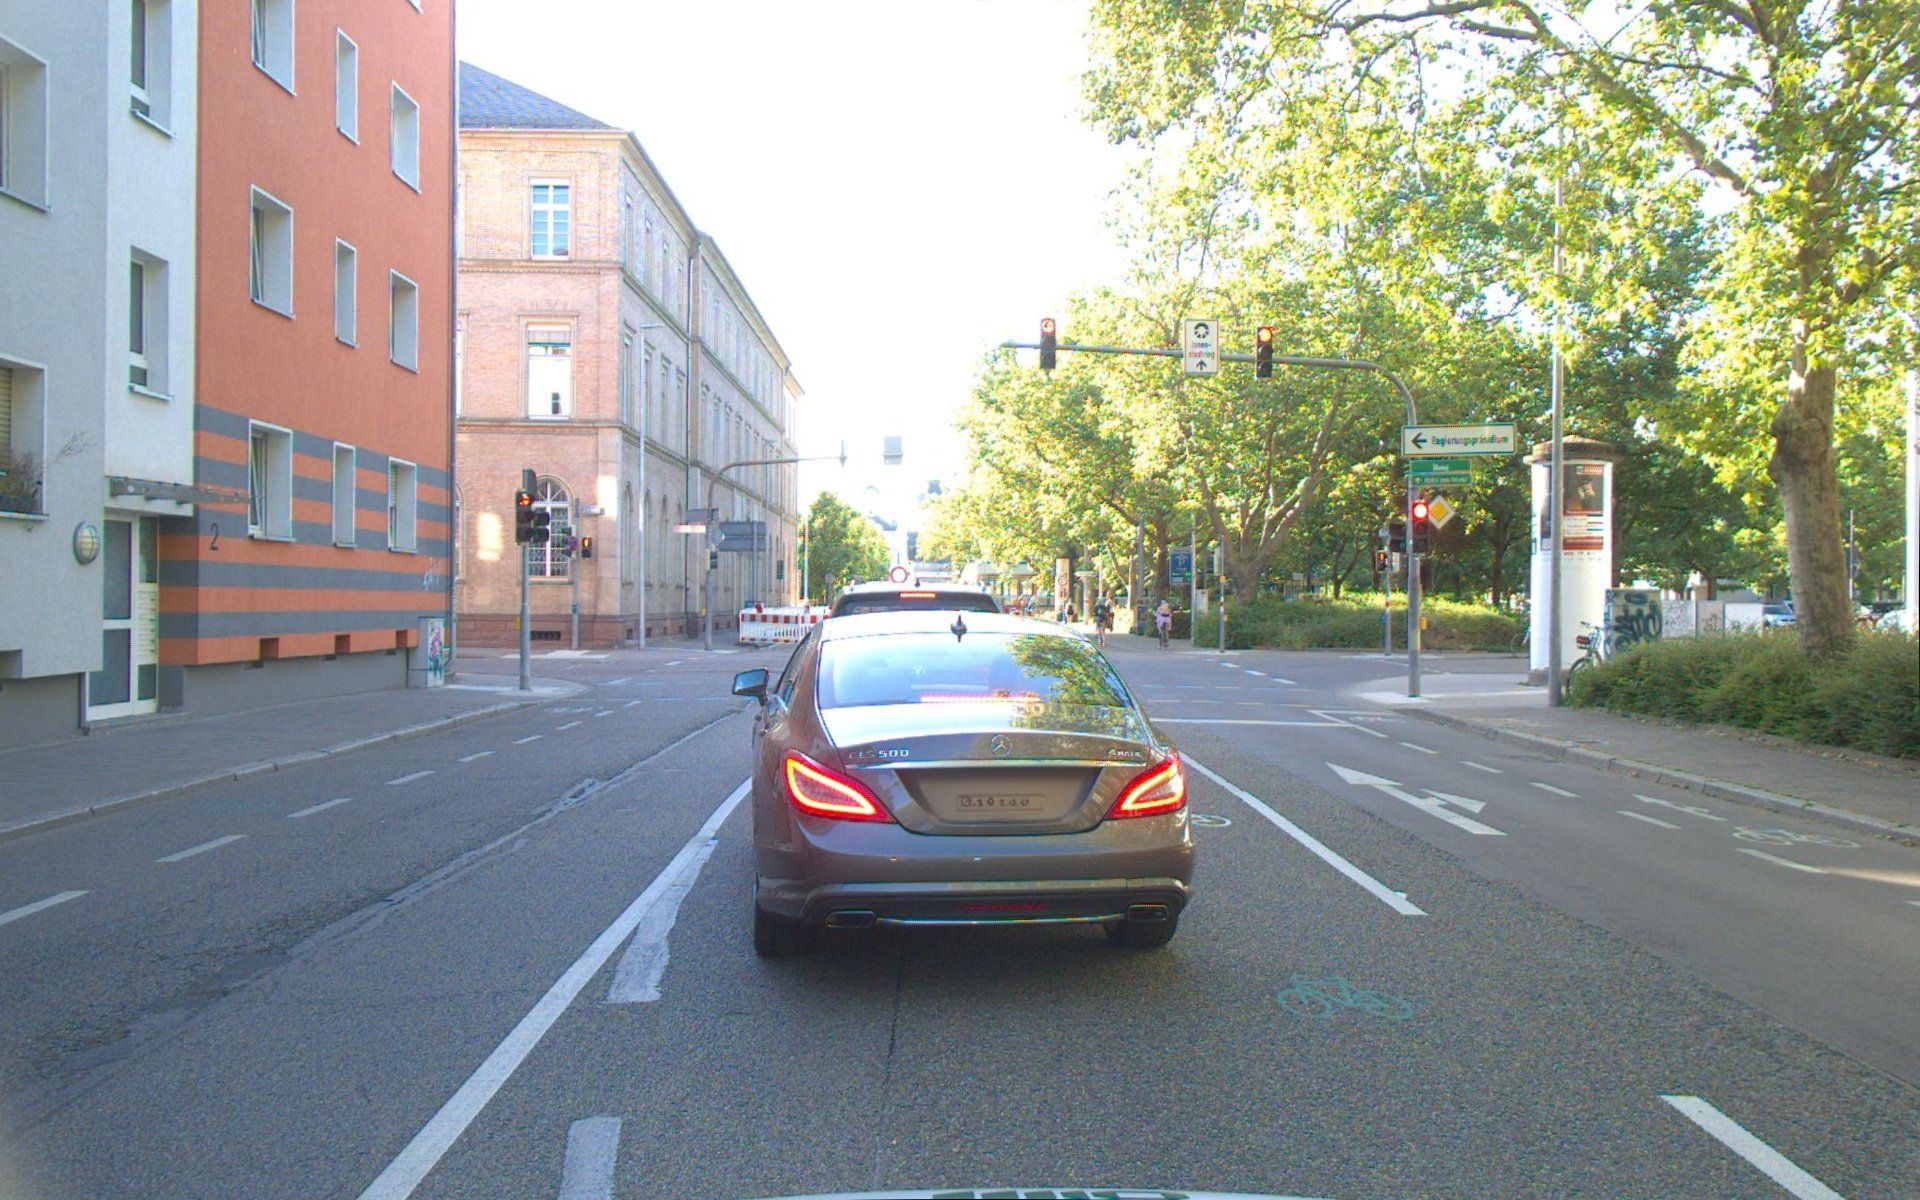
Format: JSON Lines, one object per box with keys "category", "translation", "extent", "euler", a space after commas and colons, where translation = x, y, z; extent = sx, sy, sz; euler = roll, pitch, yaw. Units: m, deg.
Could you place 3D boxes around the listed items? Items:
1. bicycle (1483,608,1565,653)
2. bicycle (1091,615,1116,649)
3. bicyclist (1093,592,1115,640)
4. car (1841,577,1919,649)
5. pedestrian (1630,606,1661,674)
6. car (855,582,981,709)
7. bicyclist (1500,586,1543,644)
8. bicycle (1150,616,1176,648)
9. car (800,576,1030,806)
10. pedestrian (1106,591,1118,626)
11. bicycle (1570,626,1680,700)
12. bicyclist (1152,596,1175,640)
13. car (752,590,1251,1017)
{"category": "bicycle", "translation": [15.528, 0.835, 45.545], "extent": [1.961, 1.205, 0.883], "euler": [0, 0, -11]}
{"category": "bicycle", "translation": [4.742, 1.051, 54.762], "extent": [0.598, 1.044, 1.731], "euler": [2, 0, -1]}
{"category": "bicyclist", "translation": [4.762, 0.528, 54.818], "extent": [0.598, 1.542, 0.889], "euler": [2, 0, -1]}
{"category": "car", "translation": [25.378, 0.333, 42.991], "extent": [3.912, 1.815, 2.001], "euler": [0, 0, 4]}
{"category": "pedestrian", "translation": [18.627, 1.086, 44.945], "extent": [0.607, 1.815, 0.630], "euler": [0, 0, 1]}
{"category": "car", "translation": [-0.626, 0.601, 23.688], "extent": [1.647, 1.653, 3.839], "euler": [0, 0, -2]}
{"category": "bicyclist", "translation": [15.444, 0.402, 45.537], "extent": [0.798, 1.581, 0.883], "euler": [0, 0, -10]}
{"category": "bicycle", "translation": [6.719, 1.065, 54.827], "extent": [0.588, 1.002, 1.881], "euler": [2, 0, -1]}
{"category": "car", "translation": [-0.392, 0.660, 13.855], "extent": [1.647, 1.653, 3.839], "euler": [0, 0, -2]}
{"category": "pedestrian", "translation": [7.309, 0.404, 79.491], "extent": [0.548, 1.707, 0.564], "euler": [0, 0, -1]}
{"category": "bicycle", "translation": [9.690, 0.917, 24.110], "extent": [1.387, 1.055, 0.538], "euler": [0, 0, -5]}
{"category": "bicyclist", "translation": [6.730, 0.600, 54.809], "extent": [0.588, 1.426, 0.931], "euler": [2, 0, -1]}
{"category": "car", "translation": [-0.103, 0.719, 8.101], "extent": [1.787, 1.502, 4.346], "euler": [0, 0, -8]}
